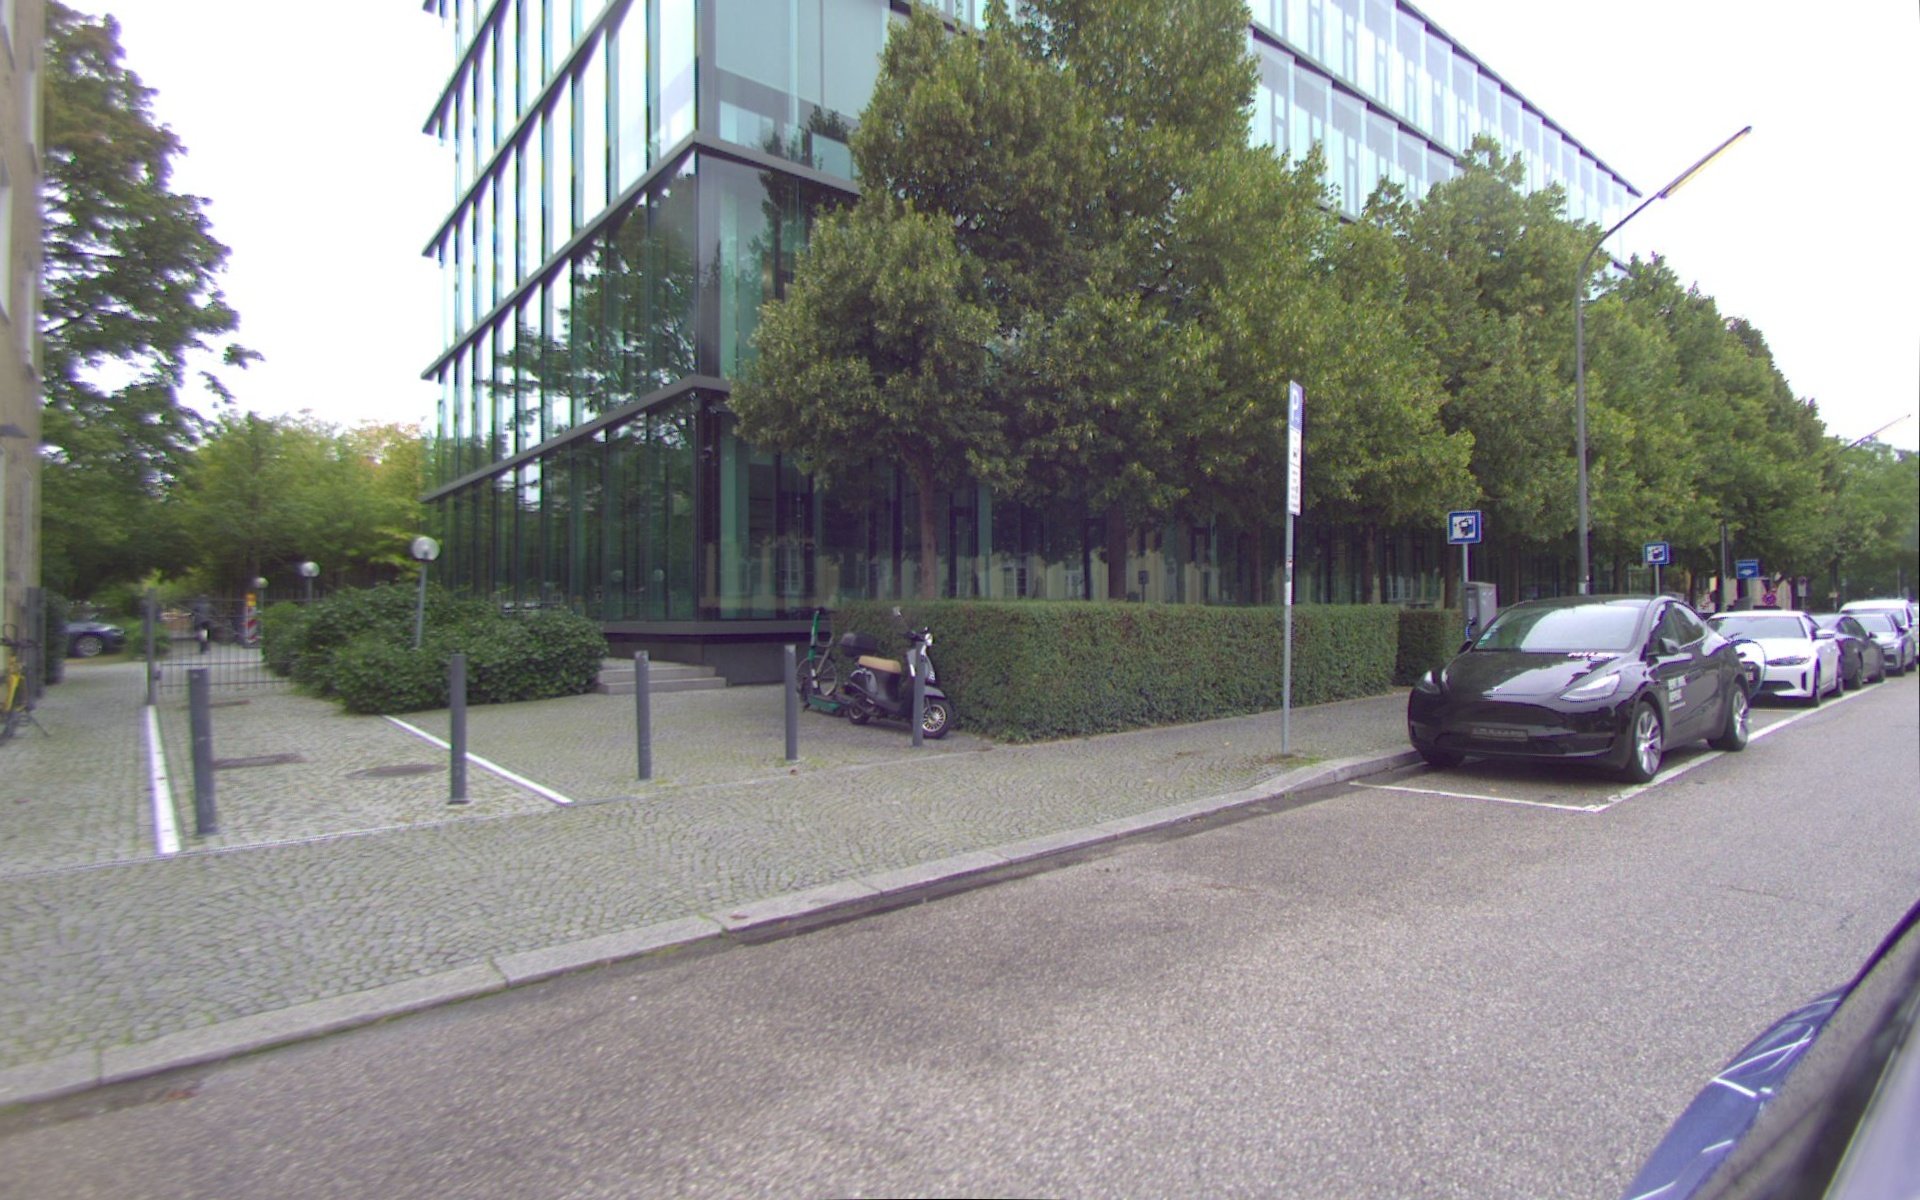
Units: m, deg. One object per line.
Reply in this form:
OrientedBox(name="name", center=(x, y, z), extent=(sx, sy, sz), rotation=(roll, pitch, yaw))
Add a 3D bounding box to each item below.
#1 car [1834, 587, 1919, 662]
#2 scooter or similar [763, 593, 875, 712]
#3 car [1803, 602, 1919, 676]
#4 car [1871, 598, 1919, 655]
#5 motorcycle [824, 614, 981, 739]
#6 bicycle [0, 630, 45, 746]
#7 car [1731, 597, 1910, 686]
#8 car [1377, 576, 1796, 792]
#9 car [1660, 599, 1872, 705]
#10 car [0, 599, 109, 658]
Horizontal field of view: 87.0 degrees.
OrientedBox(name="car", center=(25.783, 0.653, 27.986), extent=(4.494, 1.920, 1.786), rotation=(0, -3, -42))
OrientedBox(name="scooter or similar", center=(-1.711, 0.591, 12.216), extent=(0.659, 1.318, 1.349), rotation=(-2, 2, -44))
OrientedBox(name="car", center=(21.632, 0.868, 23.946), extent=(4.920, 1.572, 1.948), rotation=(0, -3, -43))
OrientedBox(name="car", center=(30.272, 0.796, 31.860), extent=(4.703, 1.713, 1.869), rotation=(0, -3, -43))
OrientedBox(name="motorcycle", center=(-0.659, 0.765, 10.883), extent=(0.695, 1.147, 1.898), rotation=(0, 1, -39))
OrientedBox(name="bicycle", center=(-9.810, 0.877, 10.540), extent=(0.372, 1.107, 1.697), rotation=(0, -1, -43))
OrientedBox(name="car", center=(17.234, 0.780, 20.185), extent=(4.764, 1.572, 1.965), rotation=(0, -2, -41))
OrientedBox(name="car", center=(6.437, 0.679, 10.139), extent=(5.008, 1.652, 1.997), rotation=(0, -2, -39))
OrientedBox(name="car", center=(13.281, 0.770, 16.555), extent=(4.874, 1.479, 1.995), rotation=(0, -3, -43))
OrientedBox(name="car", center=(-26.069, 0.765, 27.919), extent=(3.930, 1.563, 1.826), rotation=(0, -1, -41))
